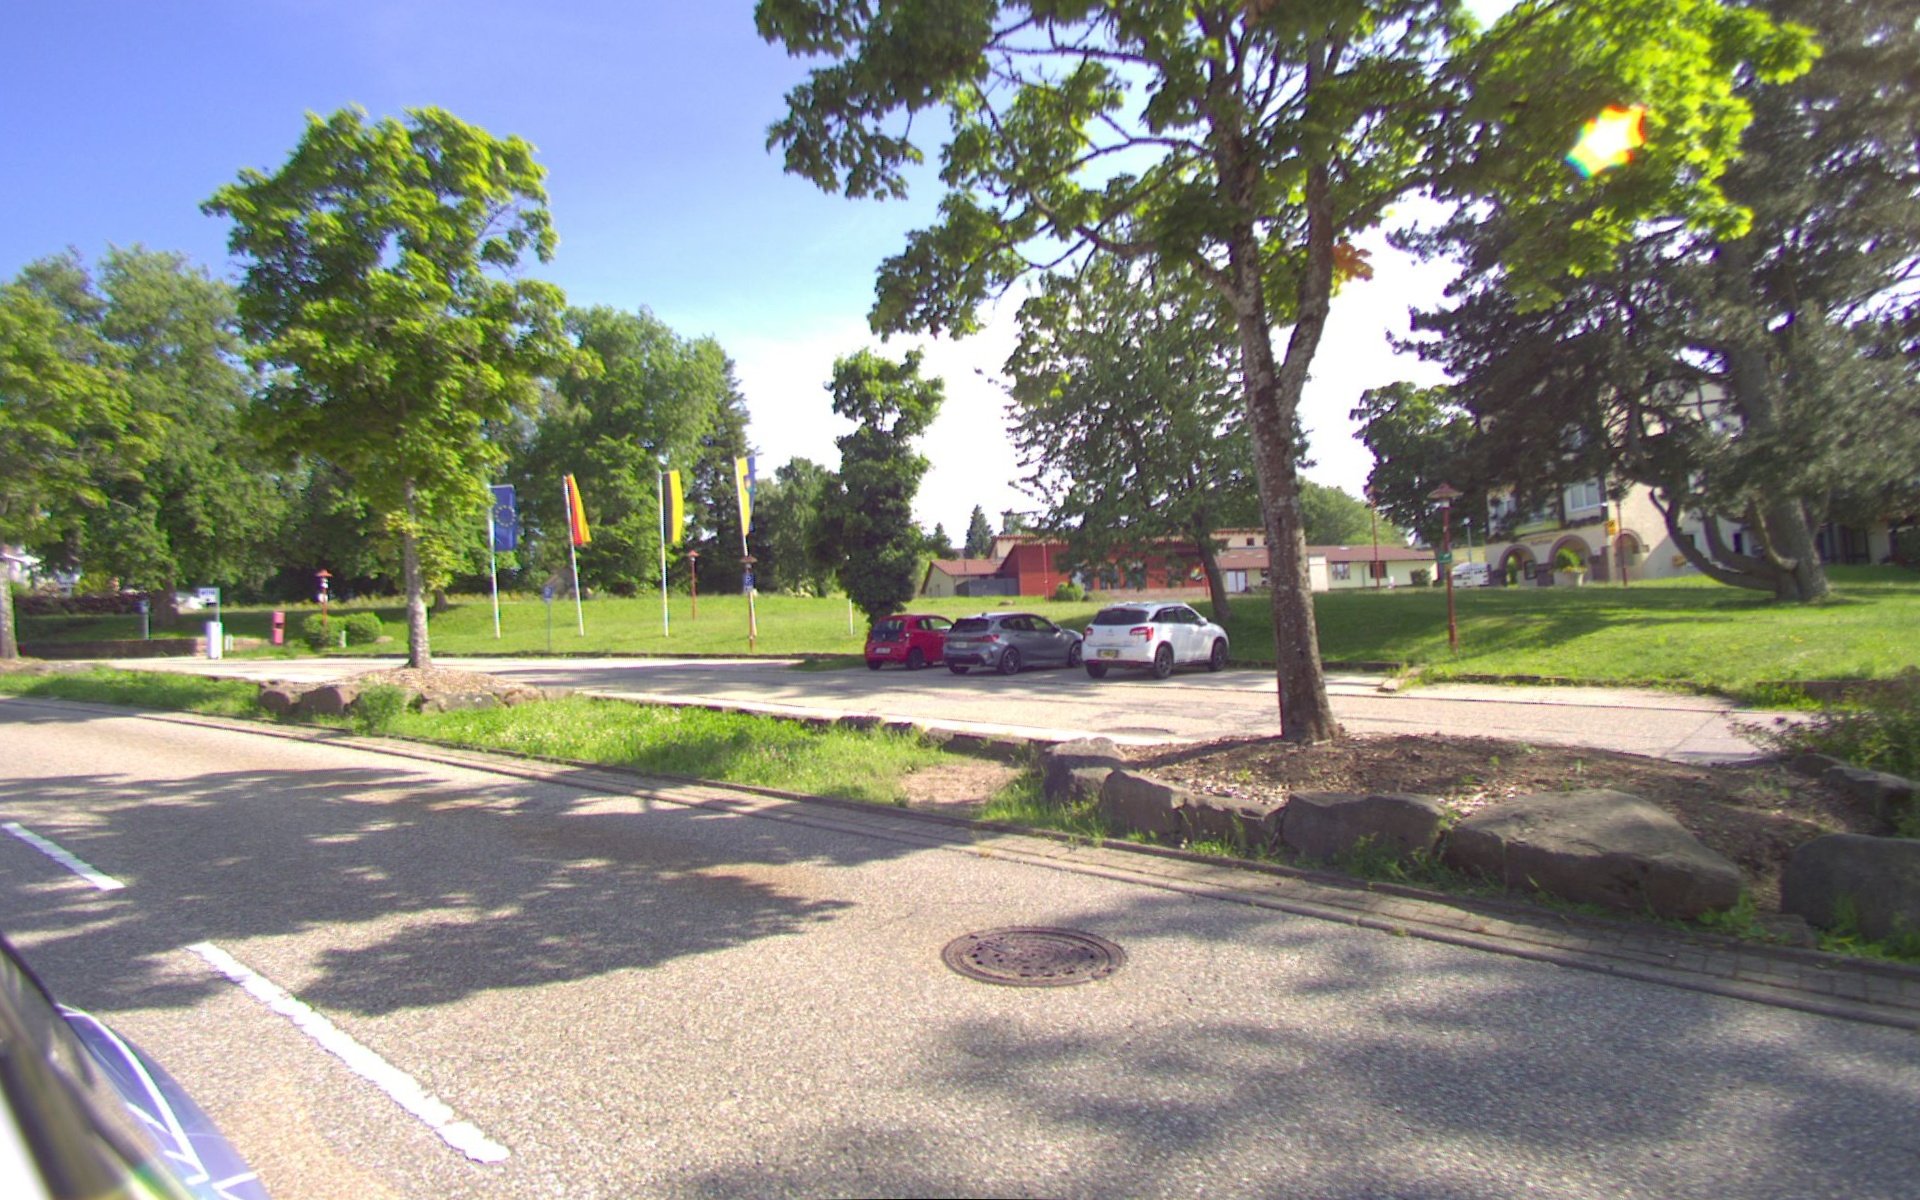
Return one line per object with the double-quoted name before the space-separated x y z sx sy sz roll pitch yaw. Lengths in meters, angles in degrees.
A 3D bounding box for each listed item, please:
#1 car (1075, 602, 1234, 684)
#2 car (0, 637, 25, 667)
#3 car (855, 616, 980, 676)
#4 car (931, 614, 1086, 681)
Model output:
"car" 4.326 0.875 22.122 1.774 1.621 3.889 -2 -1 39
"car" -45.779 2.400 46.400 1.799 1.409 4.235 -1 -2 2
"car" -1.113 1.200 27.523 1.774 1.481 3.167 -2 -1 38
"car" 1.229 1.098 24.522 1.777 1.444 3.659 -2 -1 44
